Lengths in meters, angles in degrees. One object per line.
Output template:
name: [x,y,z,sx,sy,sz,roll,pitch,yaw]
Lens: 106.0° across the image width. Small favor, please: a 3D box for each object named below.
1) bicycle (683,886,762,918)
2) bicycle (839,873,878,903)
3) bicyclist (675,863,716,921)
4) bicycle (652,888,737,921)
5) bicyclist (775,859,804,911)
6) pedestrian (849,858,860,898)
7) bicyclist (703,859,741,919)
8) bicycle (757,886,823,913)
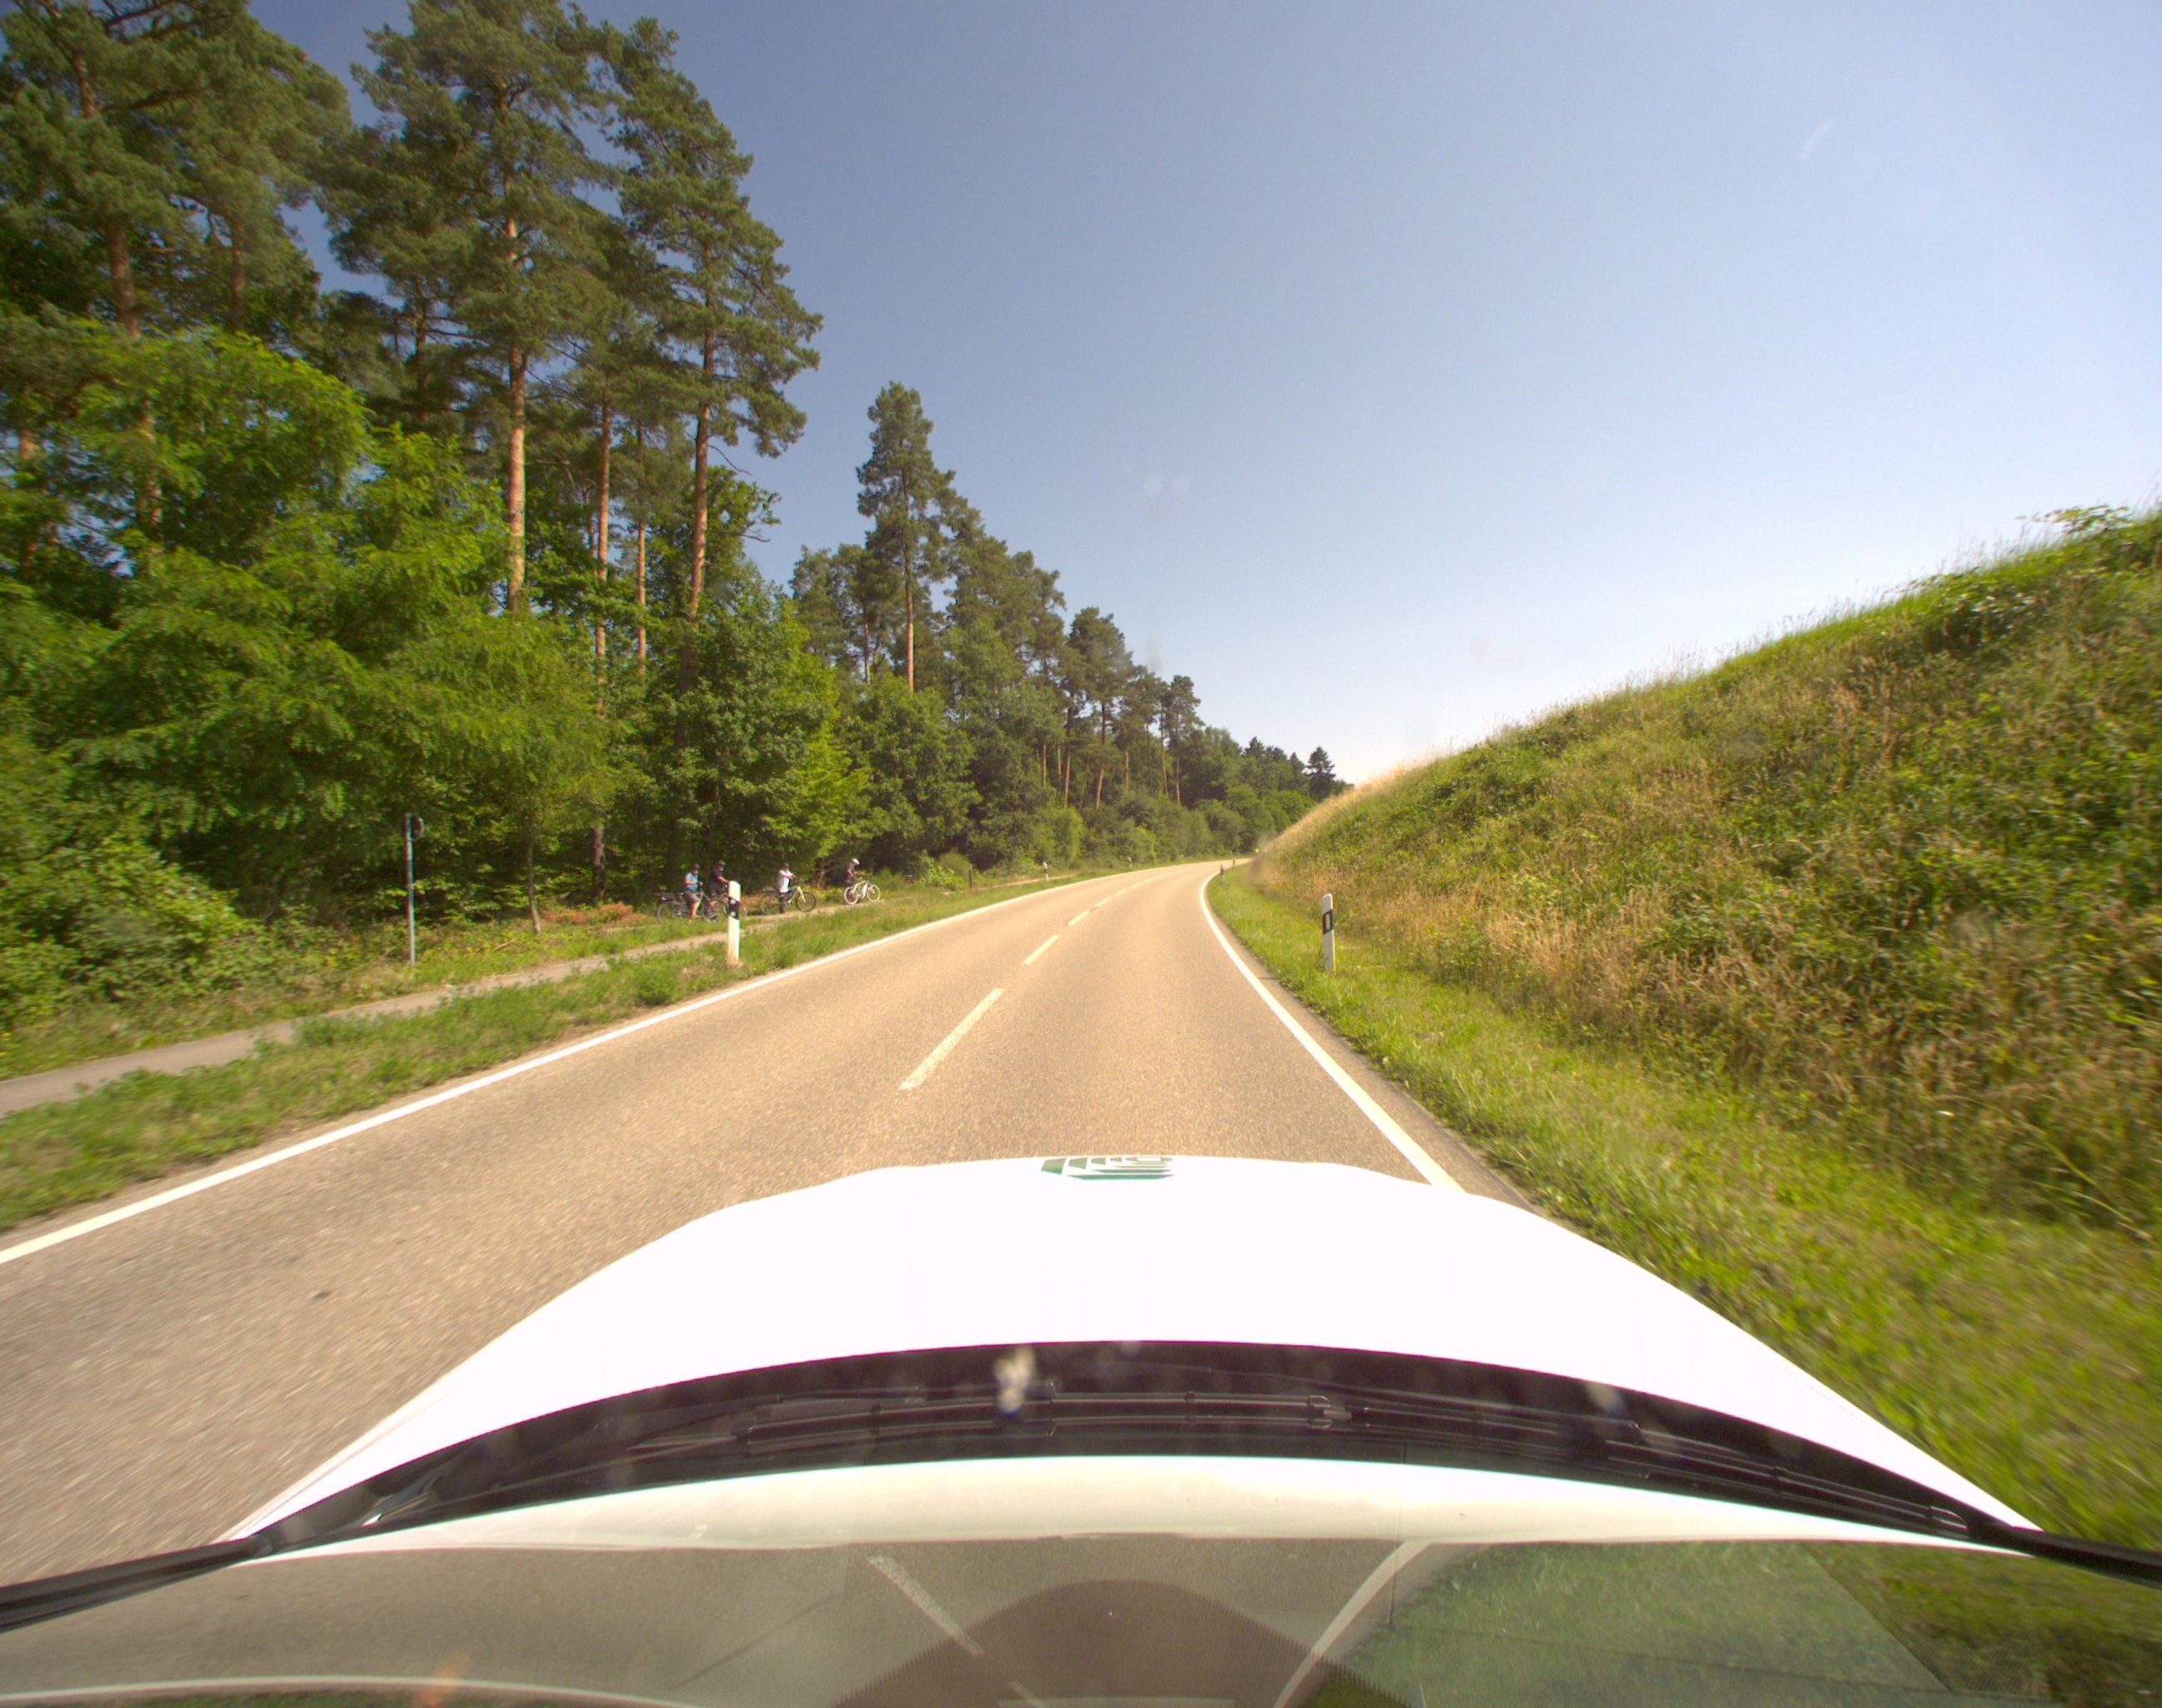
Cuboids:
bicycle: [-10.293,1.366,23.448,1.995,0.829,0.599,1,-1,-40]
bicycle: [-8.693,1.319,31.836,0.575,1.086,1.457,1,2,35]
bicyclist: [-10.531,1.020,22.231,0.876,1.545,0.599,1,-1,-40]
bicycle: [-10.530,1.356,22.217,1.995,0.829,0.599,1,-1,-40]
bicyclist: [-9.725,1.026,27.179,0.792,1.719,0.600,1,-1,-33]
pedestrian: [-8.894,0.939,31.946,0.282,1.538,0.391,-2,0,2]
bicyclist: [-10.399,1.005,23.602,0.855,1.701,0.599,1,-1,-40]
bicycle: [-9.709,1.501,27.190,1.992,0.829,0.600,1,-1,-33]
